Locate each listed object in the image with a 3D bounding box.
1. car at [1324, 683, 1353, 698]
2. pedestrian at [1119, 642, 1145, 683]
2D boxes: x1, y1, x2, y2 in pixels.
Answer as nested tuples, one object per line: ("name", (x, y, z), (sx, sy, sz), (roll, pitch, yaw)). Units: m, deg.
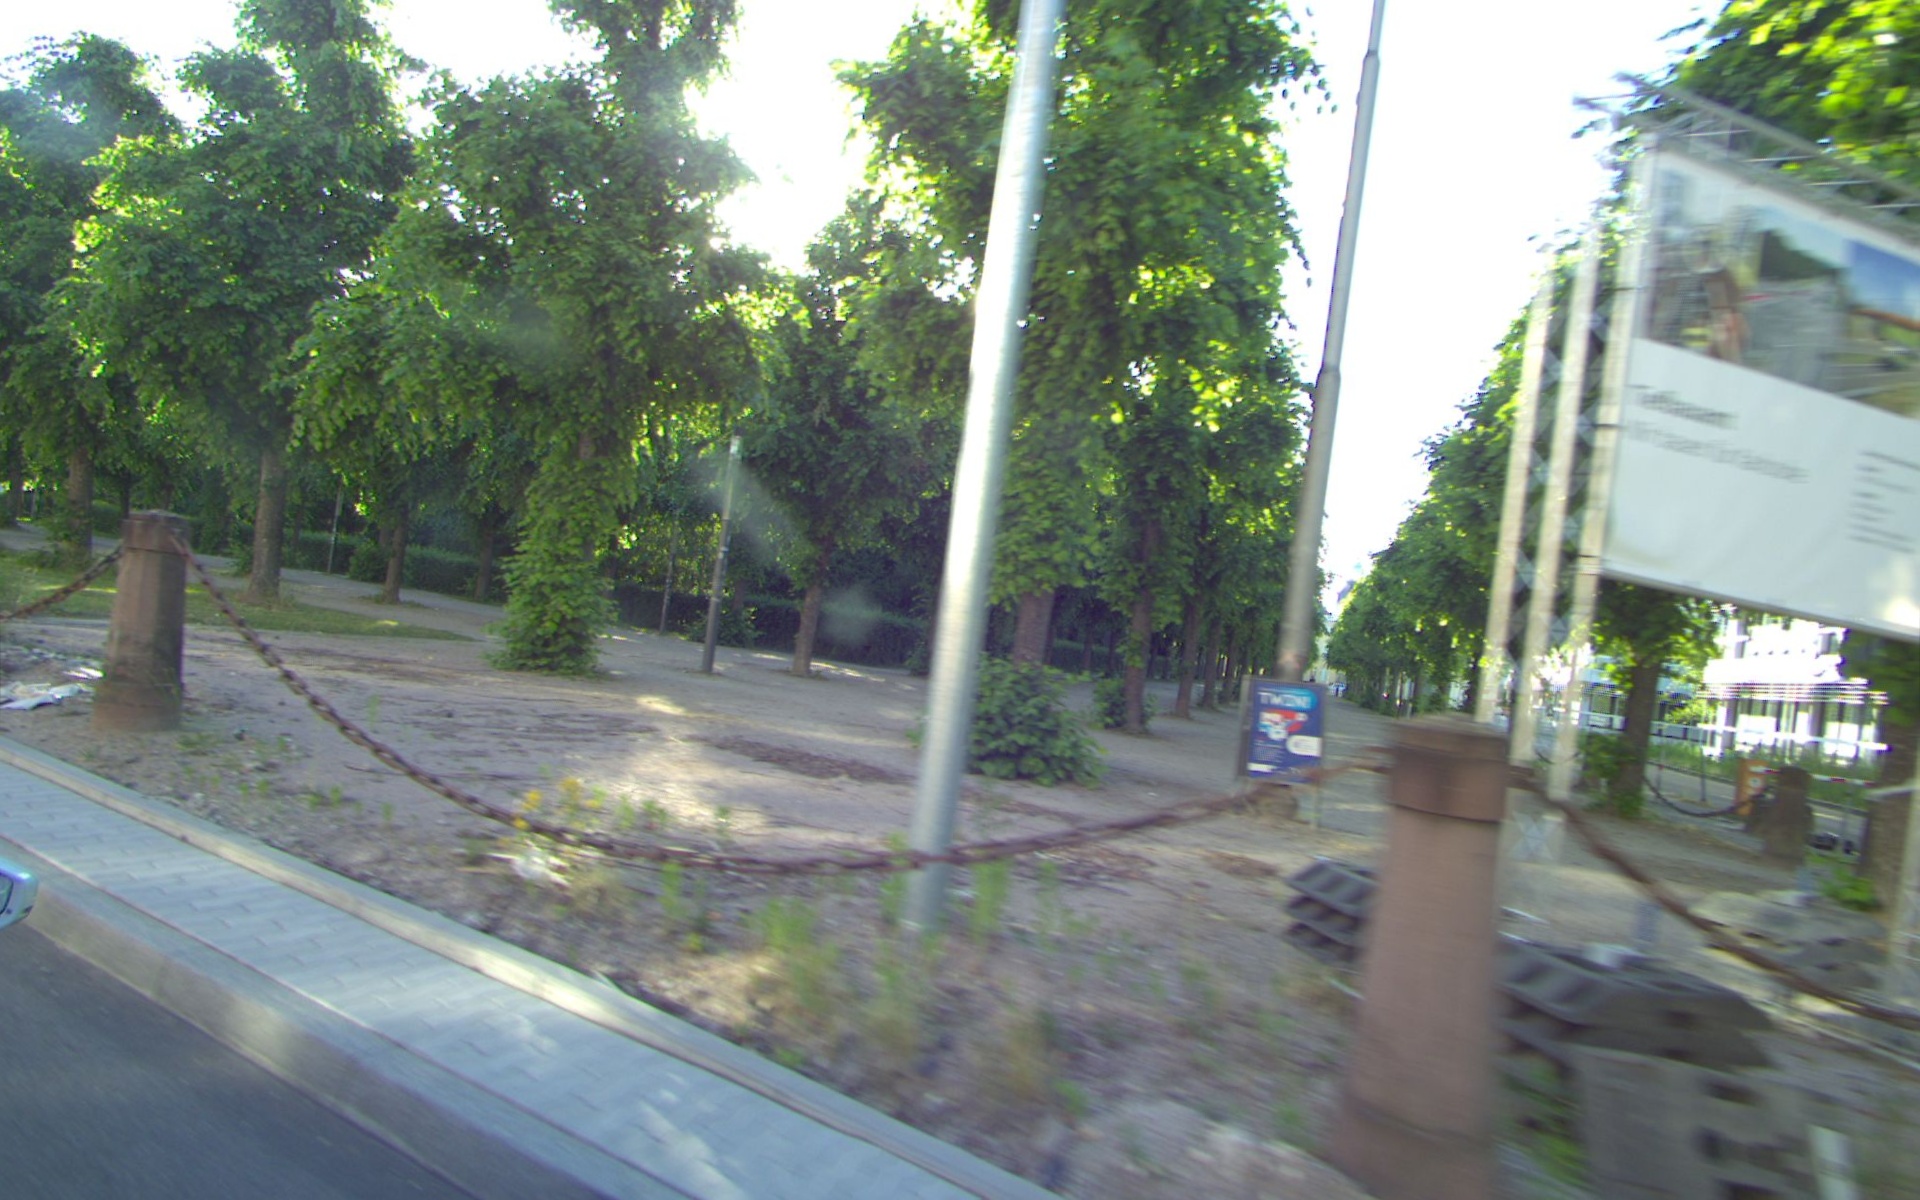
("car", (65.080, 15.541, 172.974), (4.486, 1.811, 2.001), (8, -1, 18))
("pedestrian", (7.203, 2.607, 42.140), (0.823, 1.602, 0.681), (7, -1, 16))
